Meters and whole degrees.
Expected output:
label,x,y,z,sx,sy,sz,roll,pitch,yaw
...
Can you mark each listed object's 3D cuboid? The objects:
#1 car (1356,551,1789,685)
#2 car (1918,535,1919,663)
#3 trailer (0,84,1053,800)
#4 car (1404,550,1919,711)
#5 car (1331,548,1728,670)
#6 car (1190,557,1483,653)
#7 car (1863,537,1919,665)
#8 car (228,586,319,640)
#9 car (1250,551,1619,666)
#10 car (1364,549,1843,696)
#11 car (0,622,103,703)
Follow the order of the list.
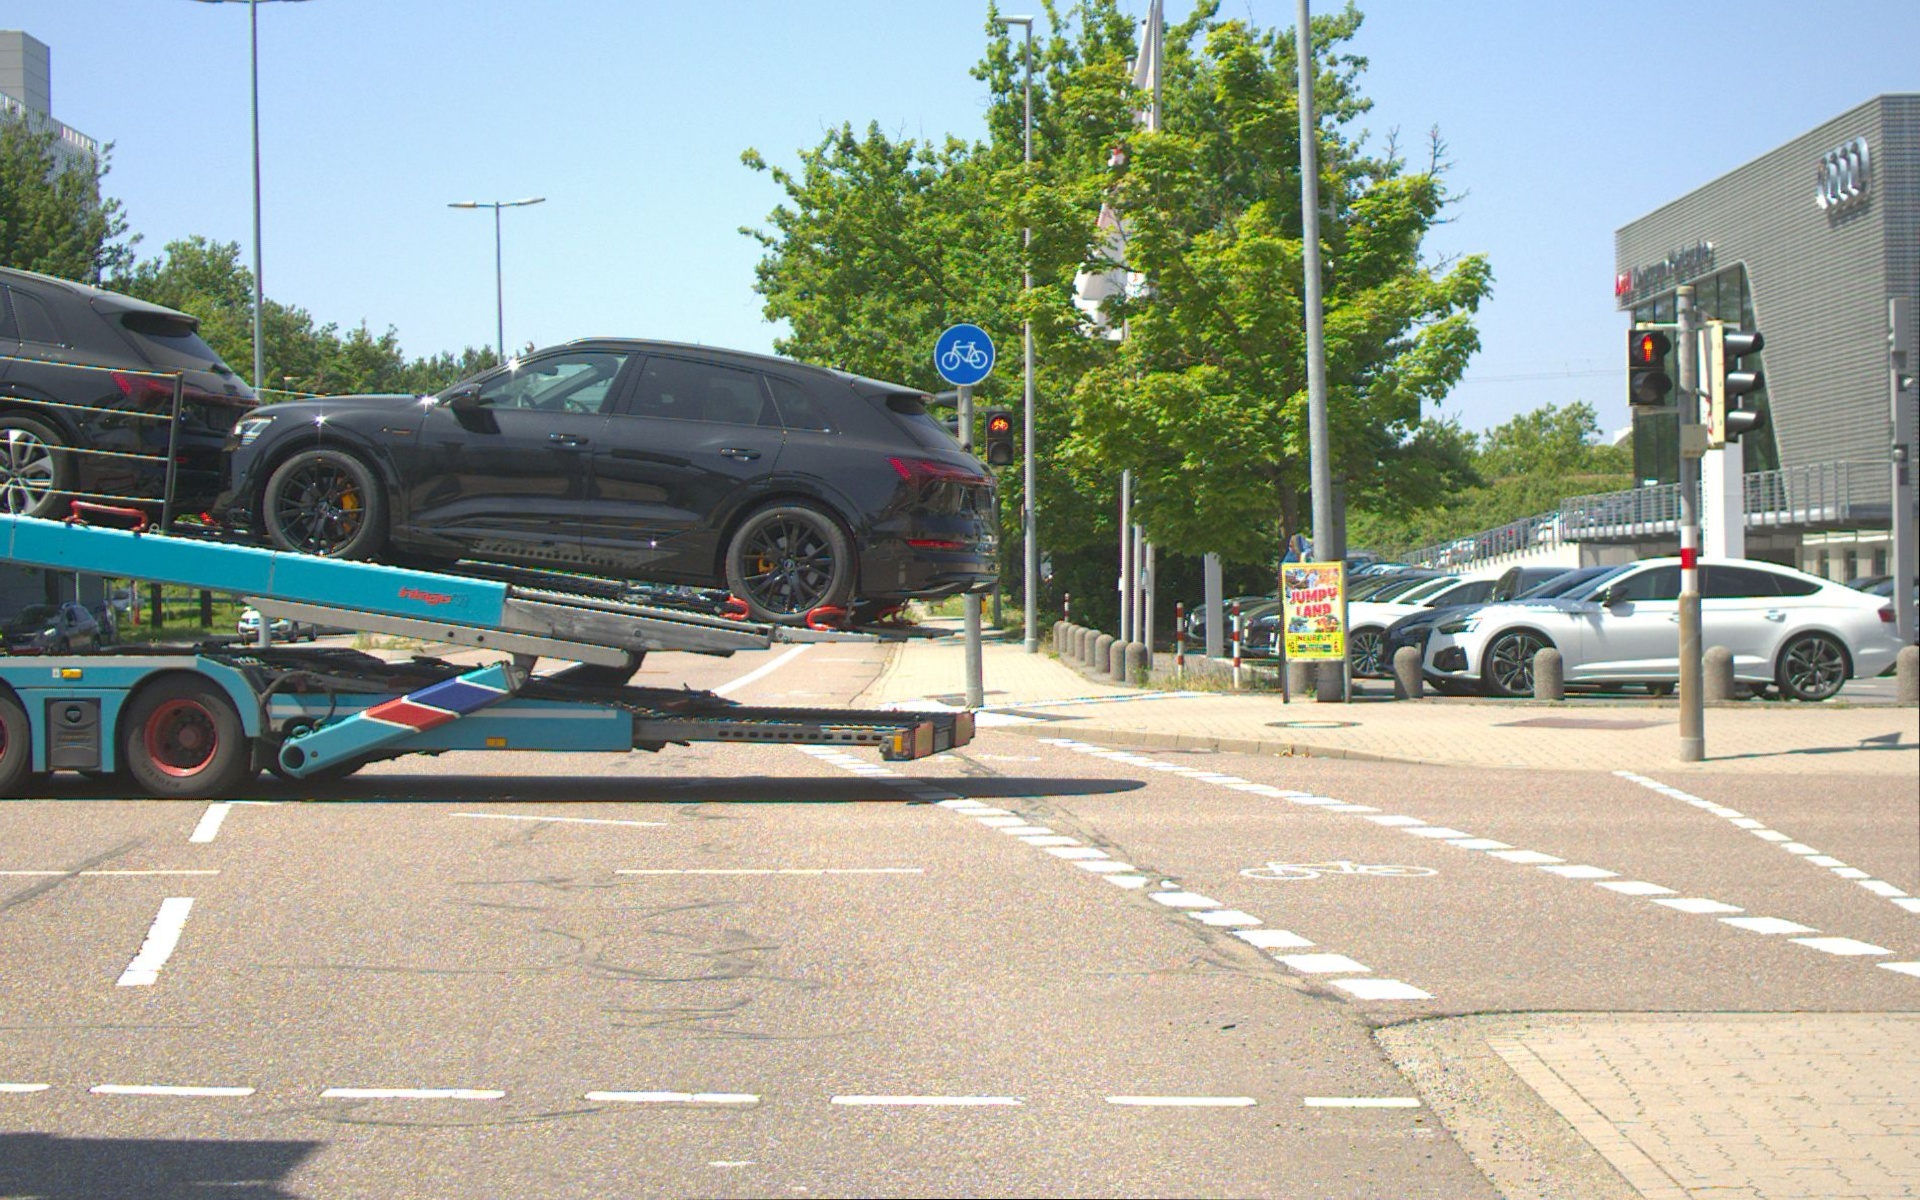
label,x,y,z,sx,sy,sz,roll,pitch,yaw
car,7.121,0.197,40.371,4.741,1.452,2.000,-1,1,2
car,16.852,-0.027,52.277,3.987,2.007,2.000,-1,1,0
trailer,-4.400,-0.885,21.917,9.616,4.067,3.093,0,0,10
car,6.869,0.278,33.923,4.741,1.452,2.000,-1,1,2
car,7.325,0.099,44.534,4.741,1.452,2.000,-1,1,-2
car,6.460,0.077,59.357,4.741,1.452,2.000,-2,1,-2
car,16.745,-0.026,55.094,3.987,2.007,2.000,-1,1,0
car,-22.021,0.396,110.442,1.927,1.659,4.088,-1,0,2
car,6.473,0.103,47.254,4.741,1.452,2.000,-1,1,-2
car,6.793,0.241,36.675,4.741,1.452,2.000,-1,0,2
car,-23.501,1.621,87.933,1.994,2.007,3.999,-1,-1,3
